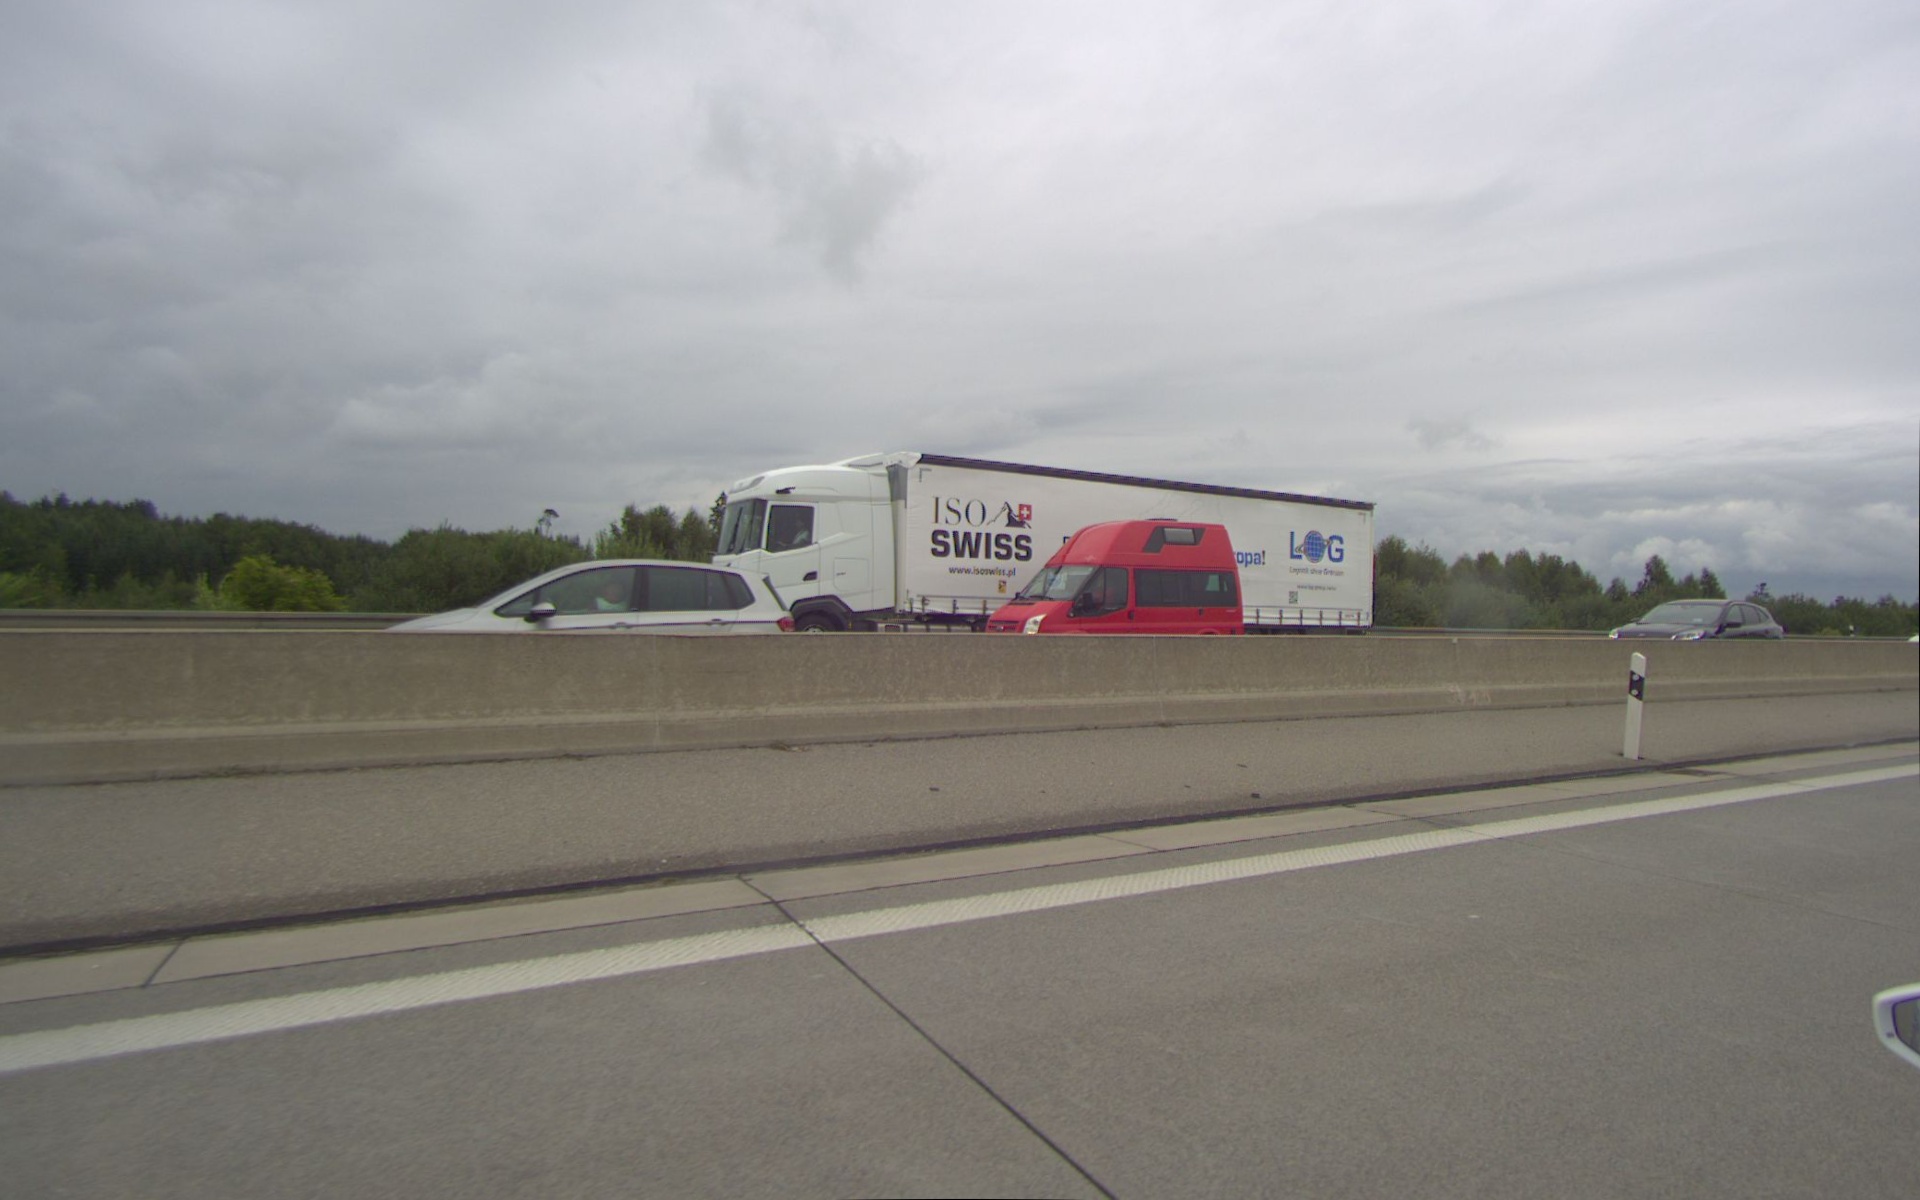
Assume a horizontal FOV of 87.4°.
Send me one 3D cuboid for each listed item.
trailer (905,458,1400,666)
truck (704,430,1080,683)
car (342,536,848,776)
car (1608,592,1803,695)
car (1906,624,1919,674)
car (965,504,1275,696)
[{"bbox_3d":[5.065,-0.690,23.974,12.858,4.056,2.874,1,0,-30],"label":"trailer"},{"bbox_3d":[-1.276,-0.720,20.304,7.051,4.348,2.870,1,0,-30],"label":"truck"},{"bbox_3d":[-3.681,0.490,10.508,4.671,2.040,1.792,1,0,-31],"label":"car"},{"bbox_3d":[16.281,0.919,21.881,4.781,2.040,1.679,1,0,-31],"label":"car"},{"bbox_3d":[36.644,1.790,36.951,4.525,1.772,1.488,1,0,-31],"label":"car"},{"bbox_3d":[2.927,0.039,17.867,5.511,2.998,1.793,1,0,-29],"label":"car"}]
